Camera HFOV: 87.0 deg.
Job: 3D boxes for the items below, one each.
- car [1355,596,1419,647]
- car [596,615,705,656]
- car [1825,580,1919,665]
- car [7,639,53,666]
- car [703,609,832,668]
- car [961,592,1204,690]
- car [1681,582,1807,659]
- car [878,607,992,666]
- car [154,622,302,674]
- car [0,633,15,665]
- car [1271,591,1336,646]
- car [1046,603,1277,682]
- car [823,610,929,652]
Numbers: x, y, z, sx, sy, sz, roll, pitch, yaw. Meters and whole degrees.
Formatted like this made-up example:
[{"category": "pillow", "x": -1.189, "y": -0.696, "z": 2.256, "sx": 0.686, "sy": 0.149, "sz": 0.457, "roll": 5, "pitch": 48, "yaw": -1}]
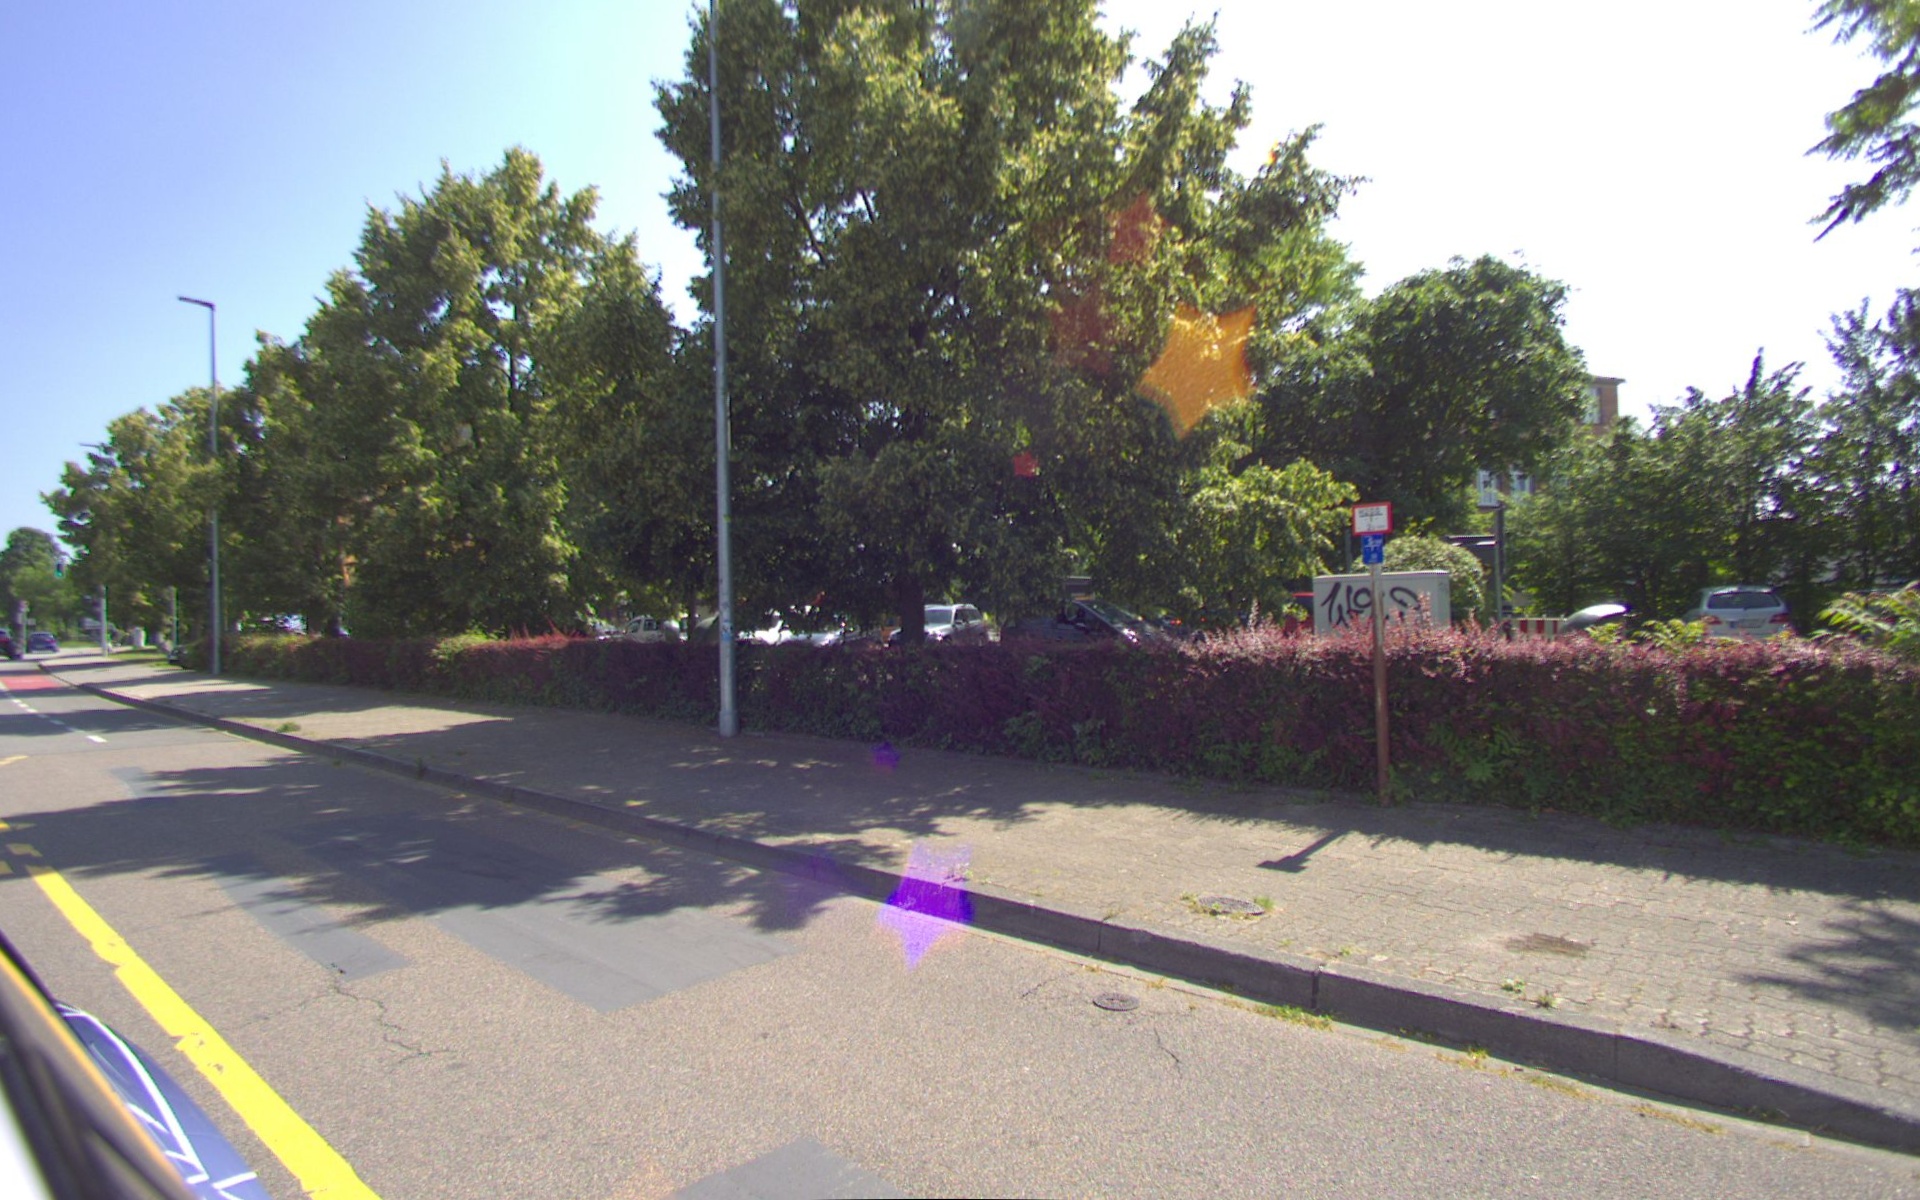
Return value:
[{"category": "car", "x": 14.076, "y": 0.682, "z": 33.416, "sx": 1.763, "sy": 1.487, "sz": 3.969, "roll": -3, "pitch": -1, "yaw": 23}, {"category": "car", "x": -12.790, "y": 1.469, "z": 41.803, "sx": 4.120, "sy": 1.564, "sz": 1.904, "roll": -2, "pitch": -1, "yaw": 26}, {"category": "car", "x": 19.119, "y": 0.396, "z": 20.534, "sx": 1.769, "sy": 1.481, "sz": 3.956, "roll": -3, "pitch": 0, "yaw": 32}, {"category": "car", "x": -61.463, "y": 3.435, "z": 66.848, "sx": 4.529, "sy": 1.657, "sz": 1.971, "roll": -2, "pitch": -2, "yaw": 44}, {"category": "car", "x": -5.996, "y": 1.177, "z": 31.990, "sx": 1.852, "sy": 1.698, "sz": 4.276, "roll": -2, "pitch": -1, "yaw": 25}, {"category": "car", "x": 2.281, "y": 0.791, "z": 19.546, "sx": 4.363, "sy": 1.699, "sz": 1.837, "roll": -2, "pitch": -3, "yaw": 40}, {"category": "car", "x": 17.927, "y": 0.432, "z": 23.321, "sx": 1.768, "sy": 1.584, "sz": 3.958, "roll": -3, "pitch": 0, "yaw": 31}, {"category": "car", "x": -0.693, "y": 1.095, "z": 31.559, "sx": 1.851, "sy": 1.698, "sz": 4.331, "roll": -2, "pitch": -1, "yaw": 24}, {"category": "car", "x": -25.702, "y": 1.634, "z": 35.610, "sx": 3.941, "sy": 1.475, "sz": 1.882, "roll": -4, "pitch": 2, "yaw": -44}, {"category": "car", "x": -50.651, "y": 2.544, "z": 52.742, "sx": 1.970, "sy": 1.657, "sz": 4.531, "roll": 1, "pitch": -2, "yaw": -44}, {"category": "car", "x": 12.470, "y": 0.615, "z": 36.586, "sx": 1.764, "sy": 1.747, "sz": 3.967, "roll": -5, "pitch": -1, "yaw": 24}, {"category": "car", "x": 4.103, "y": 0.875, "z": 20.990, "sx": 4.363, "sy": 1.464, "sz": 1.837, "roll": -2, "pitch": -3, "yaw": 40}, {"category": "car", "x": -3.733, "y": 1.379, "z": 45.001, "sx": 4.347, "sy": 1.698, "sz": 1.845, "roll": -2, "pitch": 1, "yaw": 28}]
